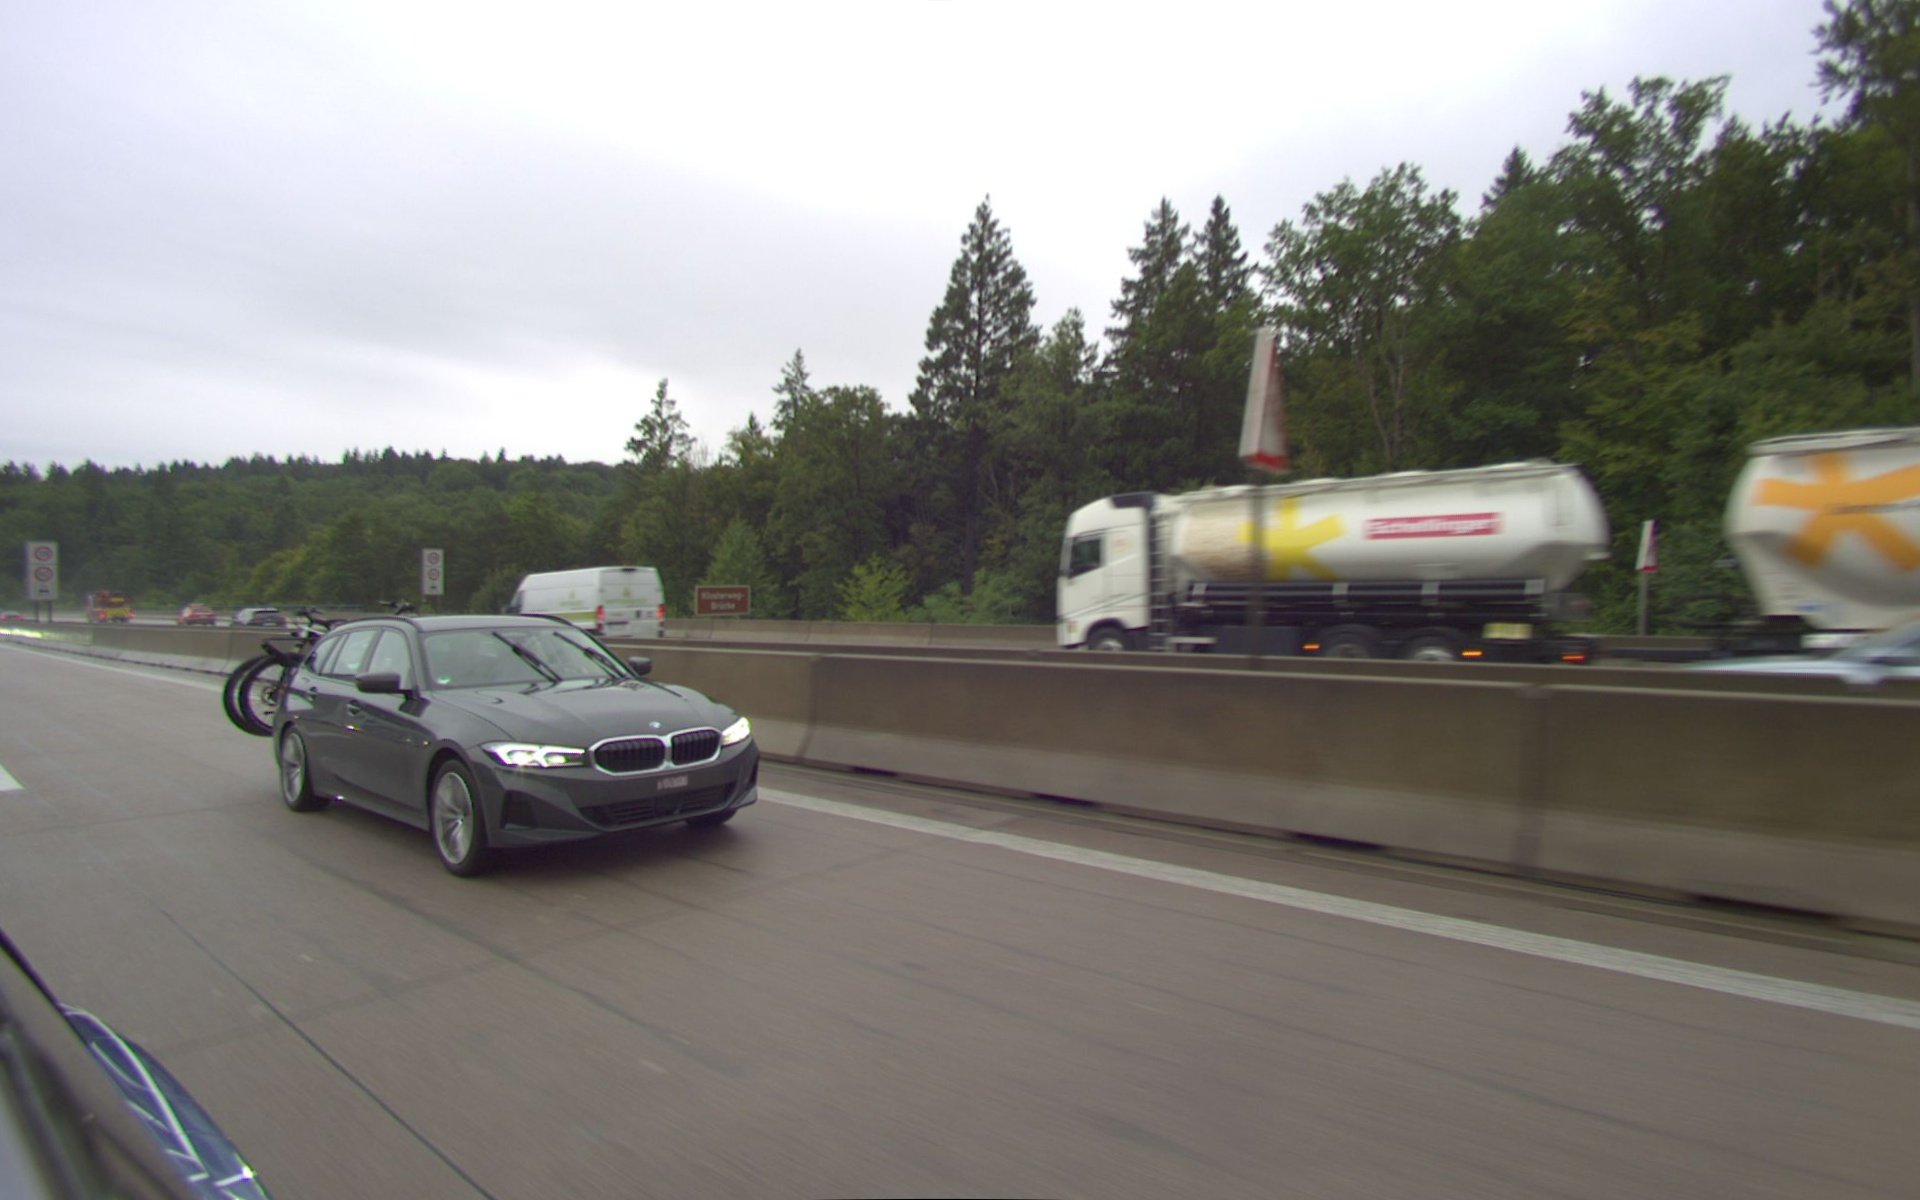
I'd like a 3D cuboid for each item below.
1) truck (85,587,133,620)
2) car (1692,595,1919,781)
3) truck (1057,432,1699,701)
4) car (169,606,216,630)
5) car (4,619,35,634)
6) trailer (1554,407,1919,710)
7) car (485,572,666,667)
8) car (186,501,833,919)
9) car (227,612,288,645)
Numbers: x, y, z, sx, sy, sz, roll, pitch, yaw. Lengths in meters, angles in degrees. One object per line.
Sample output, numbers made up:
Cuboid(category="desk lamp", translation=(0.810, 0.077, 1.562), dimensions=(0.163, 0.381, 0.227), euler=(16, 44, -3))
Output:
Cuboid(category="truck", translation=(-87.046, 0.407, 103.476), dimensions=(10.661, 3.198, 2.406), euler=(-1, 0, 43))
Cuboid(category="car", translation=(8.441, 0.638, 7.494), dimensions=(4.756, 1.382, 1.641), euler=(-1, -1, 41))
Cuboid(category="truck", translation=(6.775, -0.385, 18.346), dimensions=(10.486, 3.695, 2.537), euler=(-1, -1, 41))
Cuboid(category="car", translation=(-58.066, 1.362, 76.541), dimensions=(4.973, 1.712, 1.972), euler=(-1, 0, 42))
Cuboid(category="car", translation=(-95.118, 2.702, 102.338), dimensions=(4.751, 1.401, 1.972), euler=(-1, 0, 43))
Cuboid(category="trailer", translation=(12.688, -0.509, 13.145), dimensions=(8.226, 3.695, 2.519), euler=(-1, -1, 41))
Cuboid(category="car", translation=(-11.235, 0.549, 29.210), dimensions=(6.743, 2.467, 1.972), euler=(-1, -1, 42))
Cuboid(category="car", translation=(-3.736, 0.560, 7.478), dimensions=(6.158, 1.959, 1.888), euler=(-1, -1, 40))
Cuboid(category="car", translation=(-35.954, 1.439, 51.763), dimensions=(4.641, 1.565, 1.591), euler=(-1, 0, 42))
